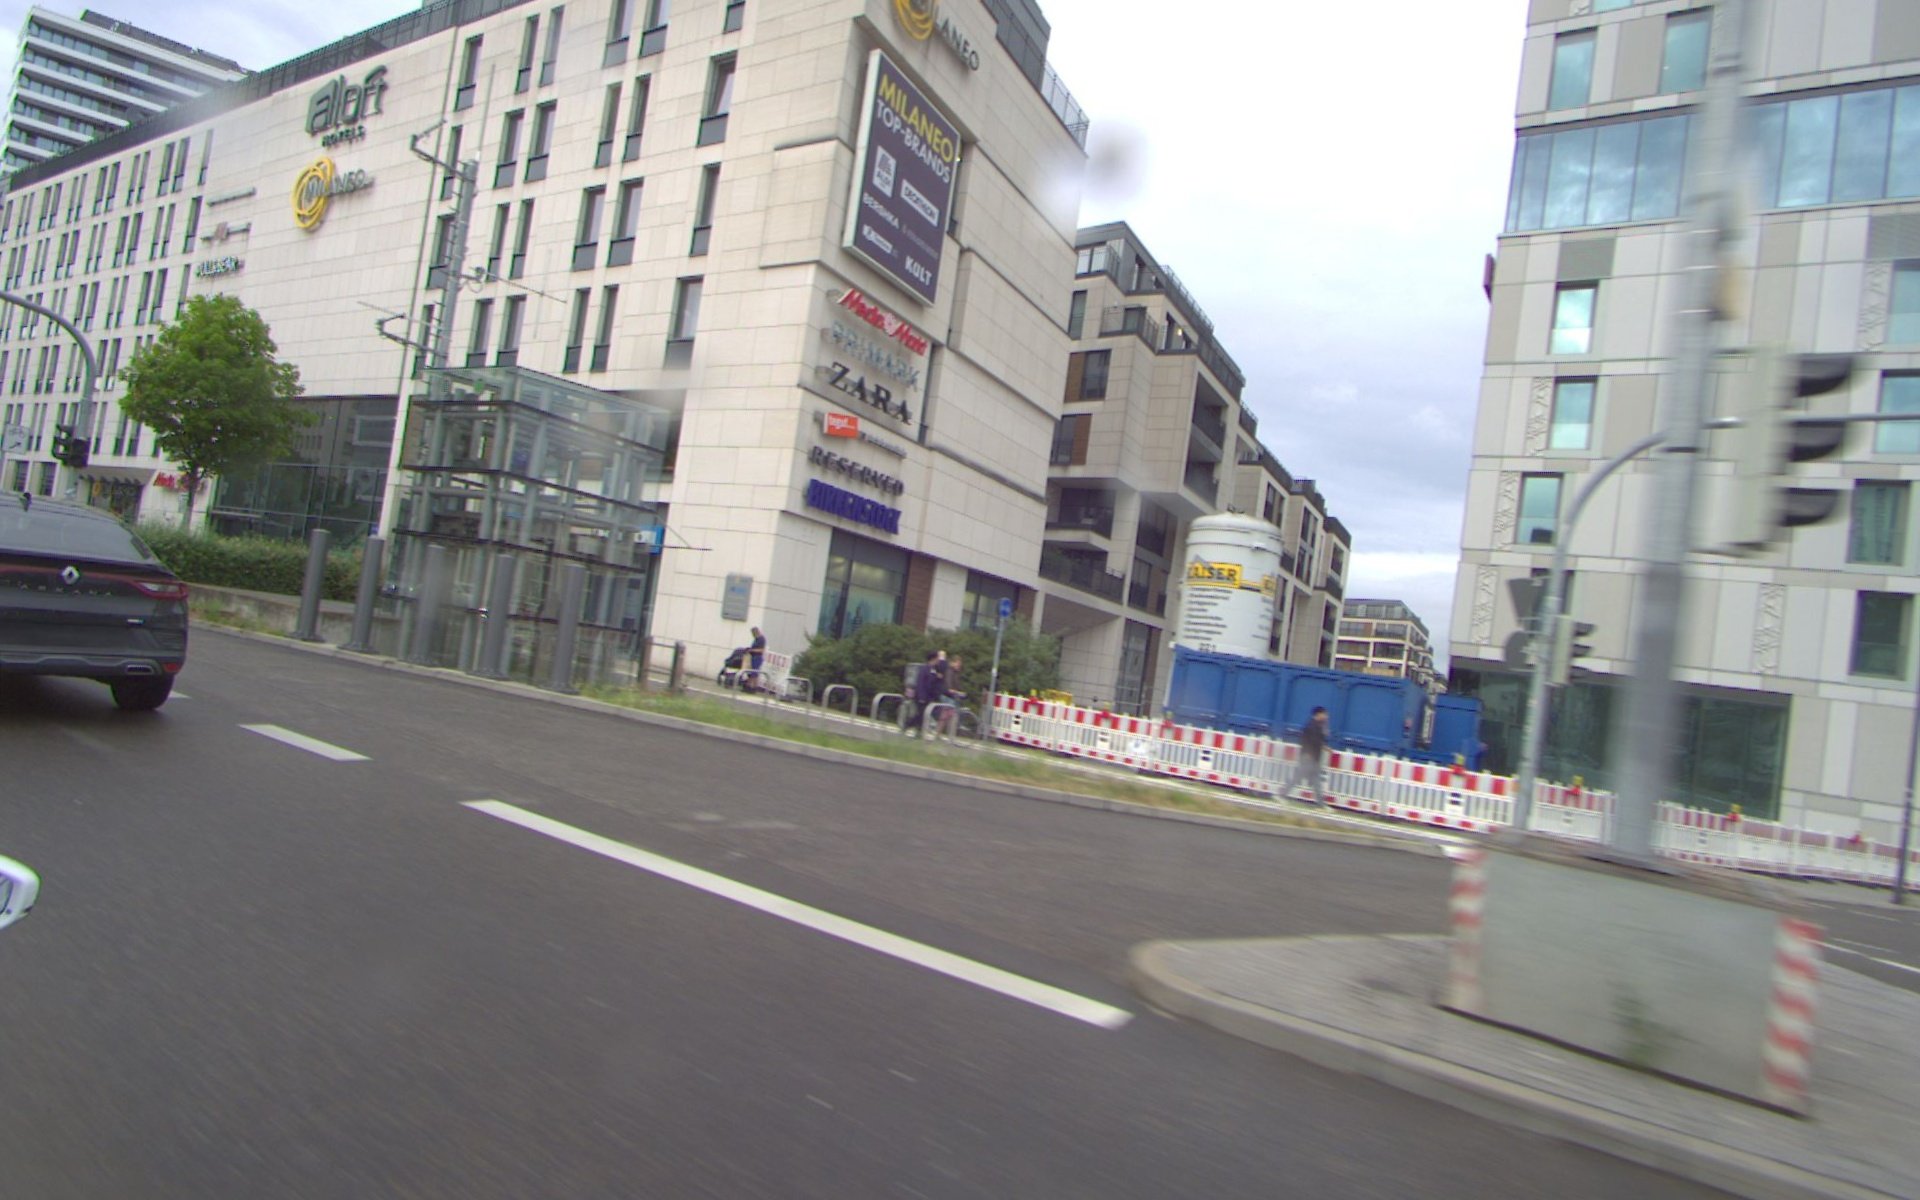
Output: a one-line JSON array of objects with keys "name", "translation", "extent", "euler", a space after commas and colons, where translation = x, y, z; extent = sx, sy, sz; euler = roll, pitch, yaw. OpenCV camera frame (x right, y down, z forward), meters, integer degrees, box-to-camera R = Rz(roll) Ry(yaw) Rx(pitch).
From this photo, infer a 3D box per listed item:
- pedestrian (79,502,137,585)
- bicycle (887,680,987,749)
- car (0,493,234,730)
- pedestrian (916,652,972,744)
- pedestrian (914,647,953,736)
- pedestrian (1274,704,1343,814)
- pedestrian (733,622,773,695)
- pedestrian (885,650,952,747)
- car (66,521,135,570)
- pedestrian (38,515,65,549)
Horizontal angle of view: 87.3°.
[{"name": "pedestrian", "translation": [-20.123, -1.326, 23.766], "extent": [0.502, 1.853, 0.729], "euler": [6, -2, 31]}, {"name": "bicycle", "translation": [-0.429, 2.104, 18.657], "extent": [1.710, 1.027, 0.451], "euler": [6, -2, 21]}, {"name": "car", "translation": [-7.836, -0.108, 7.925], "extent": [4.266, 1.524, 1.795], "euler": [7, -2, 31]}, {"name": "pedestrian", "translation": [-0.293, 1.844, 19.016], "extent": [0.687, 1.629, 0.551], "euler": [6, -2, 32]}, {"name": "pedestrian", "translation": [-0.561, 1.937, 21.307], "extent": [0.584, 1.800, 0.441], "euler": [7, -1, -2]}, {"name": "pedestrian", "translation": [5.846, 2.639, 16.857], "extent": [0.810, 1.691, 0.622], "euler": [6, -2, 32]}, {"name": "pedestrian", "translation": [-4.999, 1.404, 24.299], "extent": [0.590, 1.661, 0.583], "euler": [8, -2, -34]}, {"name": "pedestrian", "translation": [-0.747, 1.778, 18.179], "extent": [0.805, 1.629, 0.614], "euler": [6, -2, 32]}, {"name": "car", "translation": [-27.752, -1.775, 32.527], "extent": [1.501, 1.280, 3.463], "euler": [9, -3, -40]}, {"name": "pedestrian", "translation": [-45.301, -3.392, 50.169], "extent": [0.714, 1.545, 0.675], "euler": [6, -2, 31]}]
